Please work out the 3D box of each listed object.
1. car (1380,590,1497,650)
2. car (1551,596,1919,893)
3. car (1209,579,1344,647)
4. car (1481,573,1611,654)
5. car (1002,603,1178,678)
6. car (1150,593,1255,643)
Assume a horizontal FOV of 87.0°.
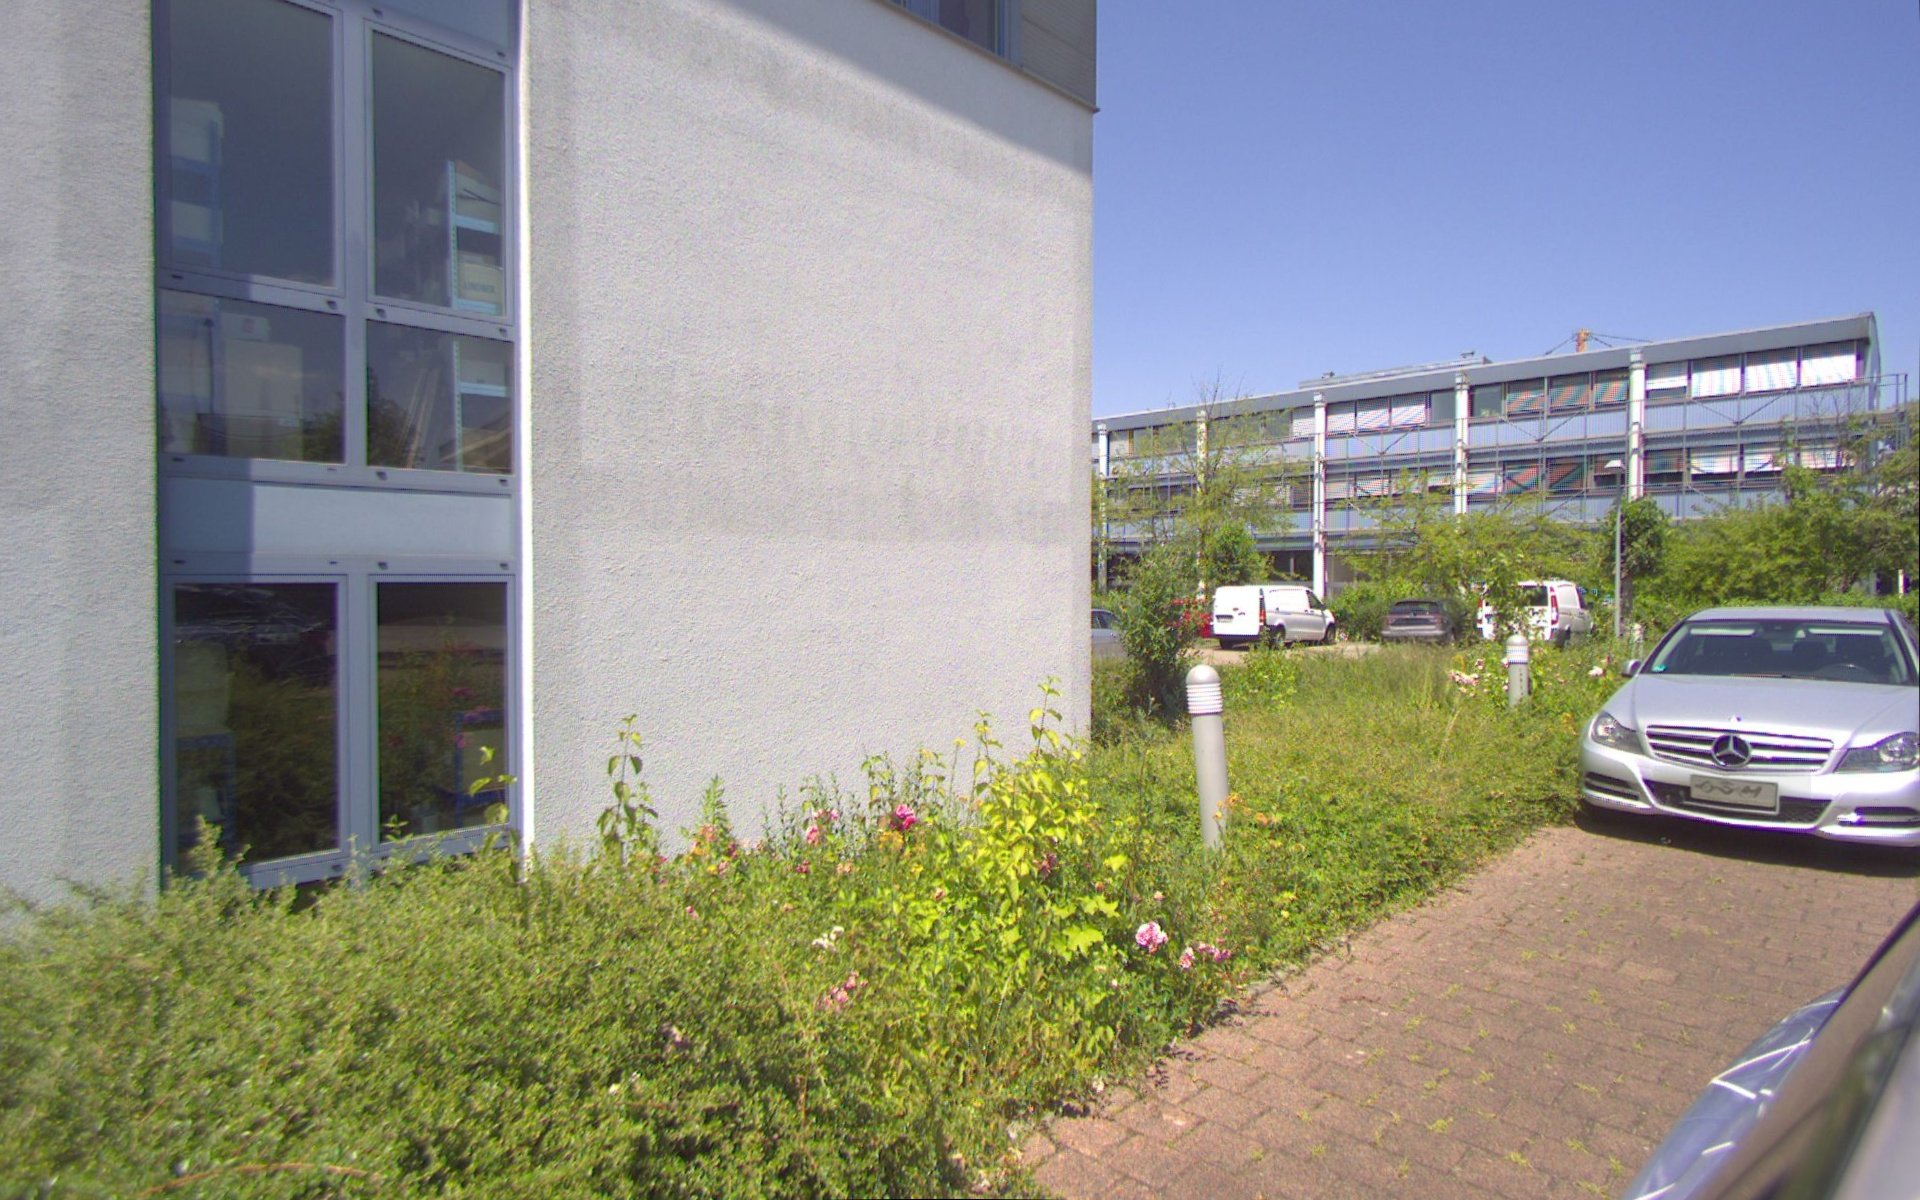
[{"bbox_3d":[13.232,0.496,27.899,1.733,1.502,4.133,-1,0,43],"label":"car"},{"bbox_3d":[5.827,0.706,7.049,4.346,1.415,1.801,-1,1,-43],"label":"car"},{"bbox_3d":[9.702,0.339,30.788,4.855,1.879,1.851,-2,0,-45],"label":"car"},{"bbox_3d":[14.935,0.282,25.685,1.862,1.883,4.605,-1,0,43],"label":"car"},{"bbox_3d":[3.104,0.852,23.471,1.850,1.539,4.358,-1,0,43],"label":"car"},{"bbox_3d":[8.163,0.569,33.864,3.857,1.507,1.620,-2,0,-45],"label":"car"}]
